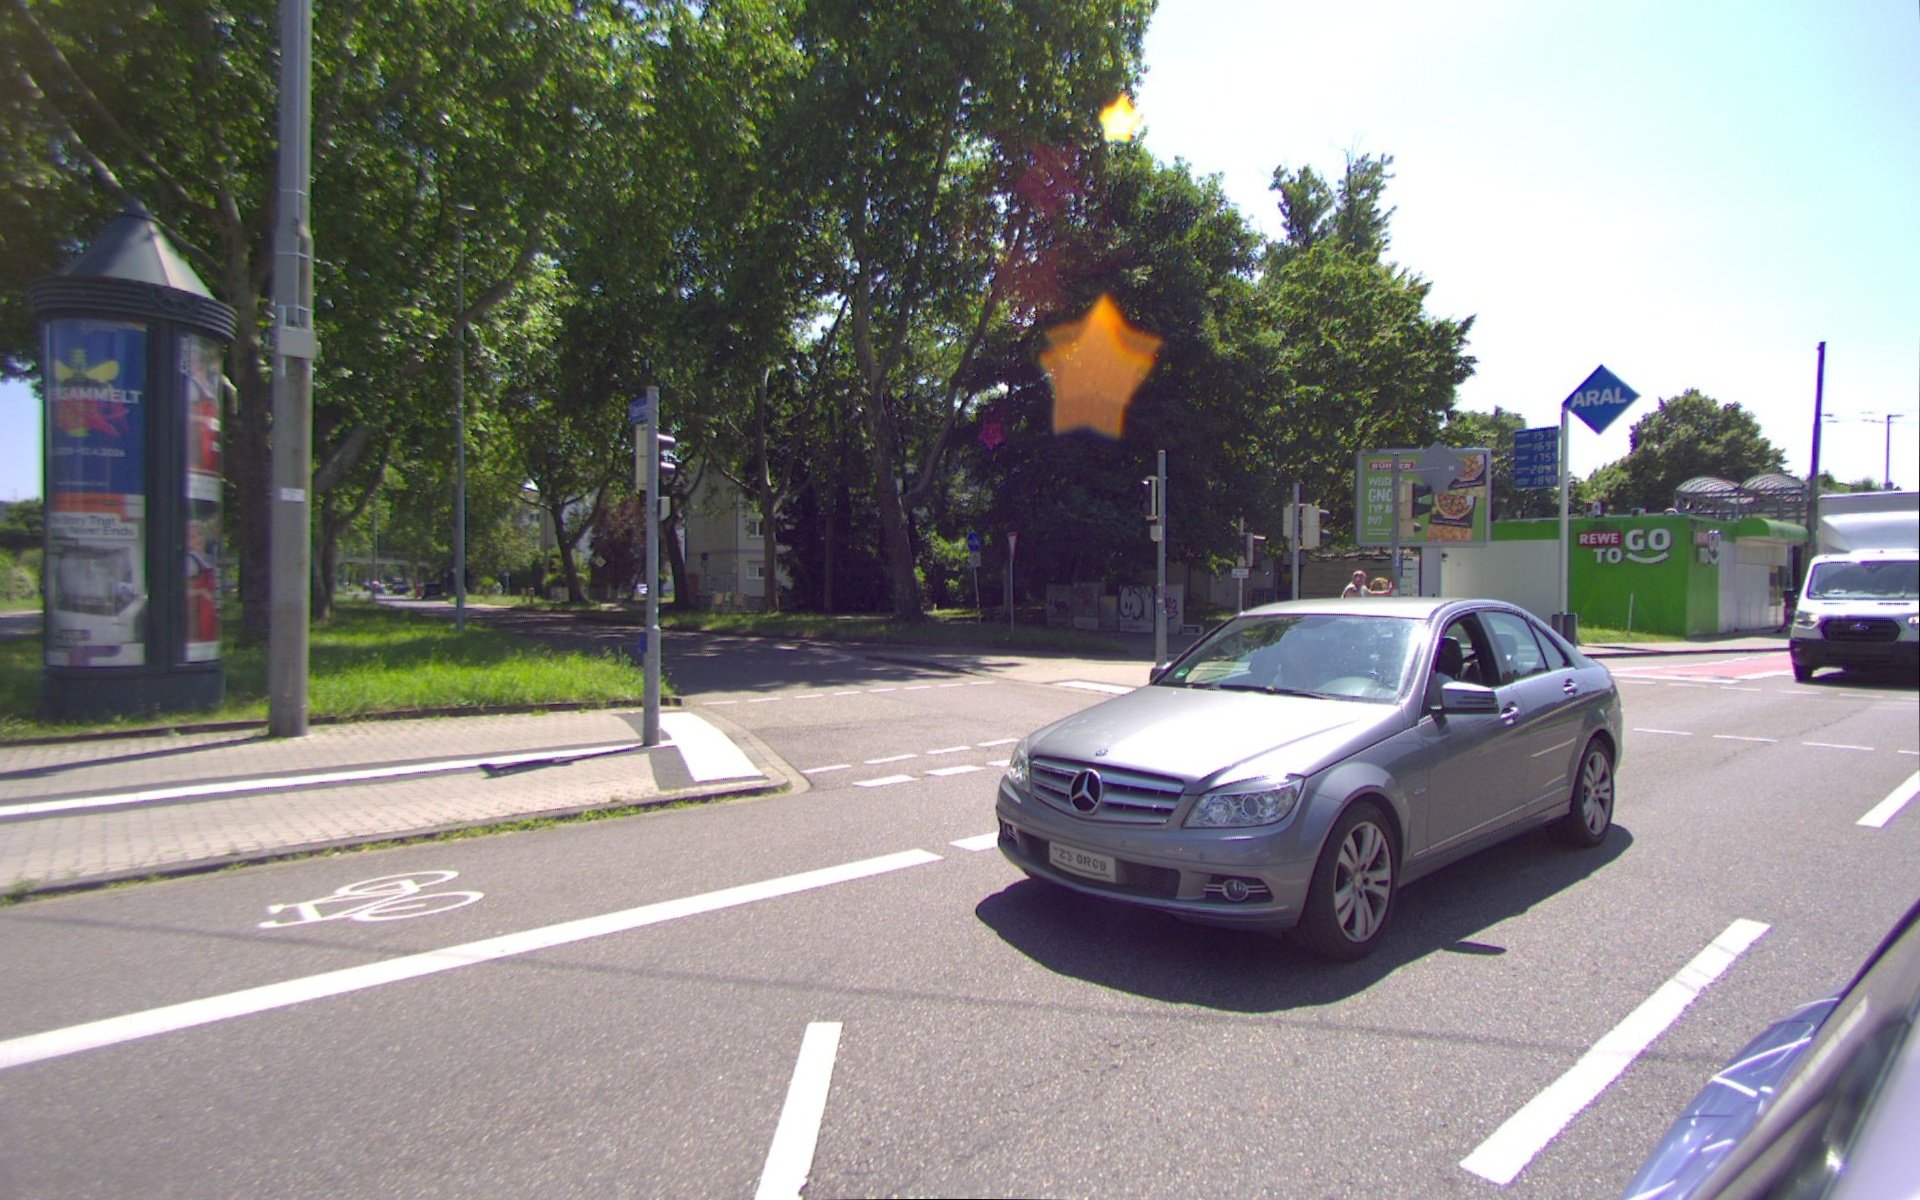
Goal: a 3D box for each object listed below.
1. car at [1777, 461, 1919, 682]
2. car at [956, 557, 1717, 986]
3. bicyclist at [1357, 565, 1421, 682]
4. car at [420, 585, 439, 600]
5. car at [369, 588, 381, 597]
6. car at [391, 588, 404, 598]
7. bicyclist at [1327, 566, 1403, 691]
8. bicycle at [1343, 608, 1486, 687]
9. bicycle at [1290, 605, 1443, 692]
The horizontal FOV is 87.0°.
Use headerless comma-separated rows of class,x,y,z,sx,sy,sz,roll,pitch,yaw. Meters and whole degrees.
car,17.574,-0.458,18.632,8.481,3.378,2.228,0,0,-39
car,2.539,0.606,5.854,5.206,1.492,1.716,0,-1,-39
bicyclist,6.847,0.362,16.162,0.753,1.811,0.579,-1,-1,-32
car,-56.466,-0.788,107.705,1.673,1.464,3.388,-1,0,-28
car,-92.423,-1.177,159.882,1.461,1.464,3.356,-1,1,-28
car,-82.153,-1.022,147.827,1.673,1.464,3.389,-1,1,-28
bicyclist,6.114,0.402,15.270,0.960,1.810,0.725,-1,0,-42
bicycle,7.105,0.702,15.892,0.877,1.139,1.874,-1,0,-32
bicycle,6.059,0.687,15.166,0.880,1.174,1.952,-1,1,-42
